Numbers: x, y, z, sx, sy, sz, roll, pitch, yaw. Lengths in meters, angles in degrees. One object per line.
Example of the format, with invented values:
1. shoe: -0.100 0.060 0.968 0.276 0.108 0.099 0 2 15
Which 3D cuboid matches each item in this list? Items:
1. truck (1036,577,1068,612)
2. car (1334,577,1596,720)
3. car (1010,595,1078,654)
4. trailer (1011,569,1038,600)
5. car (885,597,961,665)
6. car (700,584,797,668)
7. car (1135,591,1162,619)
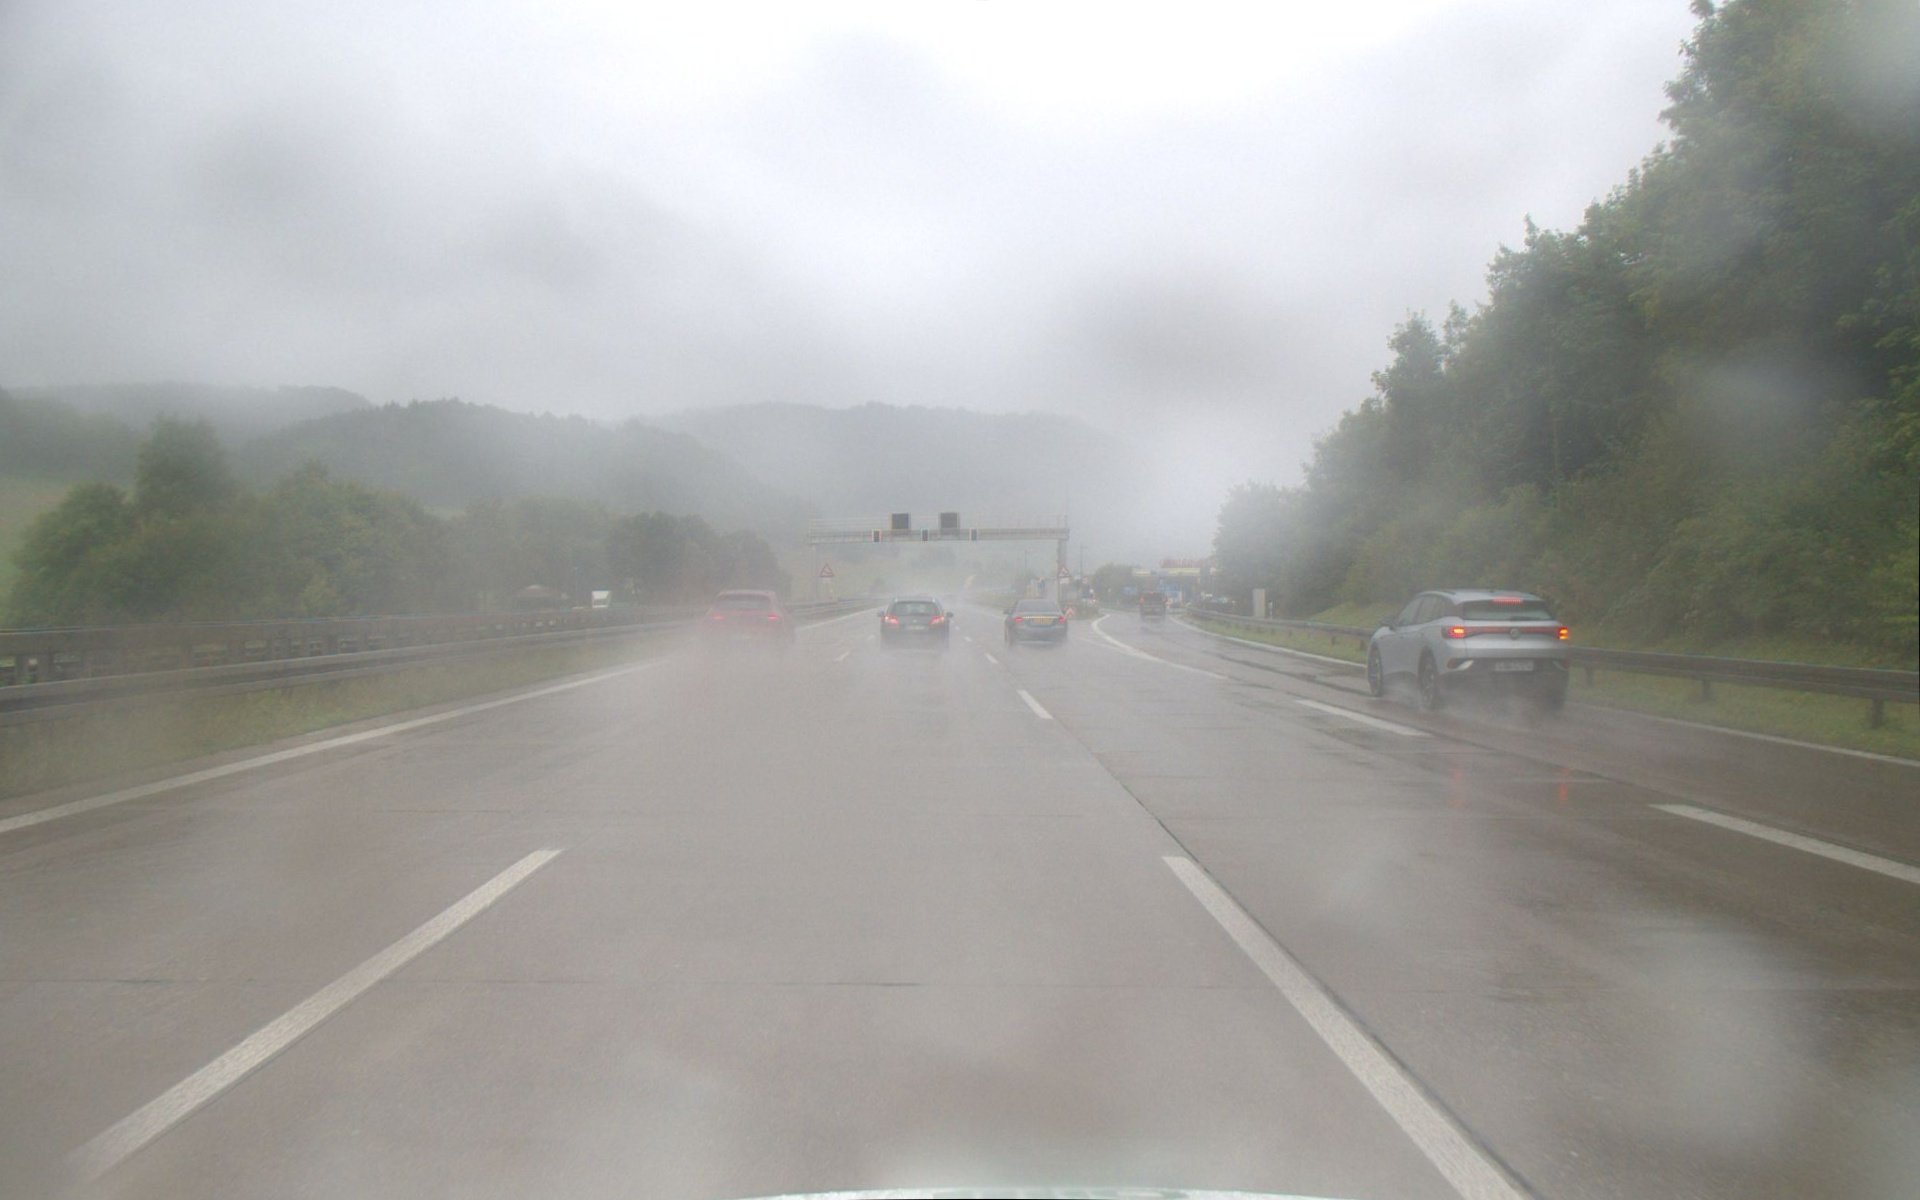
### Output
1. truck: 11.956 -0.724 215.675 3.332 4.479 11.047 1 0 -1
2. car: 7.027 0.620 23.744 1.953 1.781 5.661 1 0 -1
3. car: 2.623 0.747 52.466 1.931 1.791 3.999 0 0 -1
4. trailer: 9.538 -2.261 246.031 3.444 4.336 11.919 1 0 0
5. car: -0.931 0.767 42.603 1.822 1.617 3.999 1 0 -1
6. car: -4.877 0.556 38.585 1.846 1.847 3.999 0 0 -2
7. car: 13.949 0.352 122.127 1.951 2.049 5.058 0 0 7
